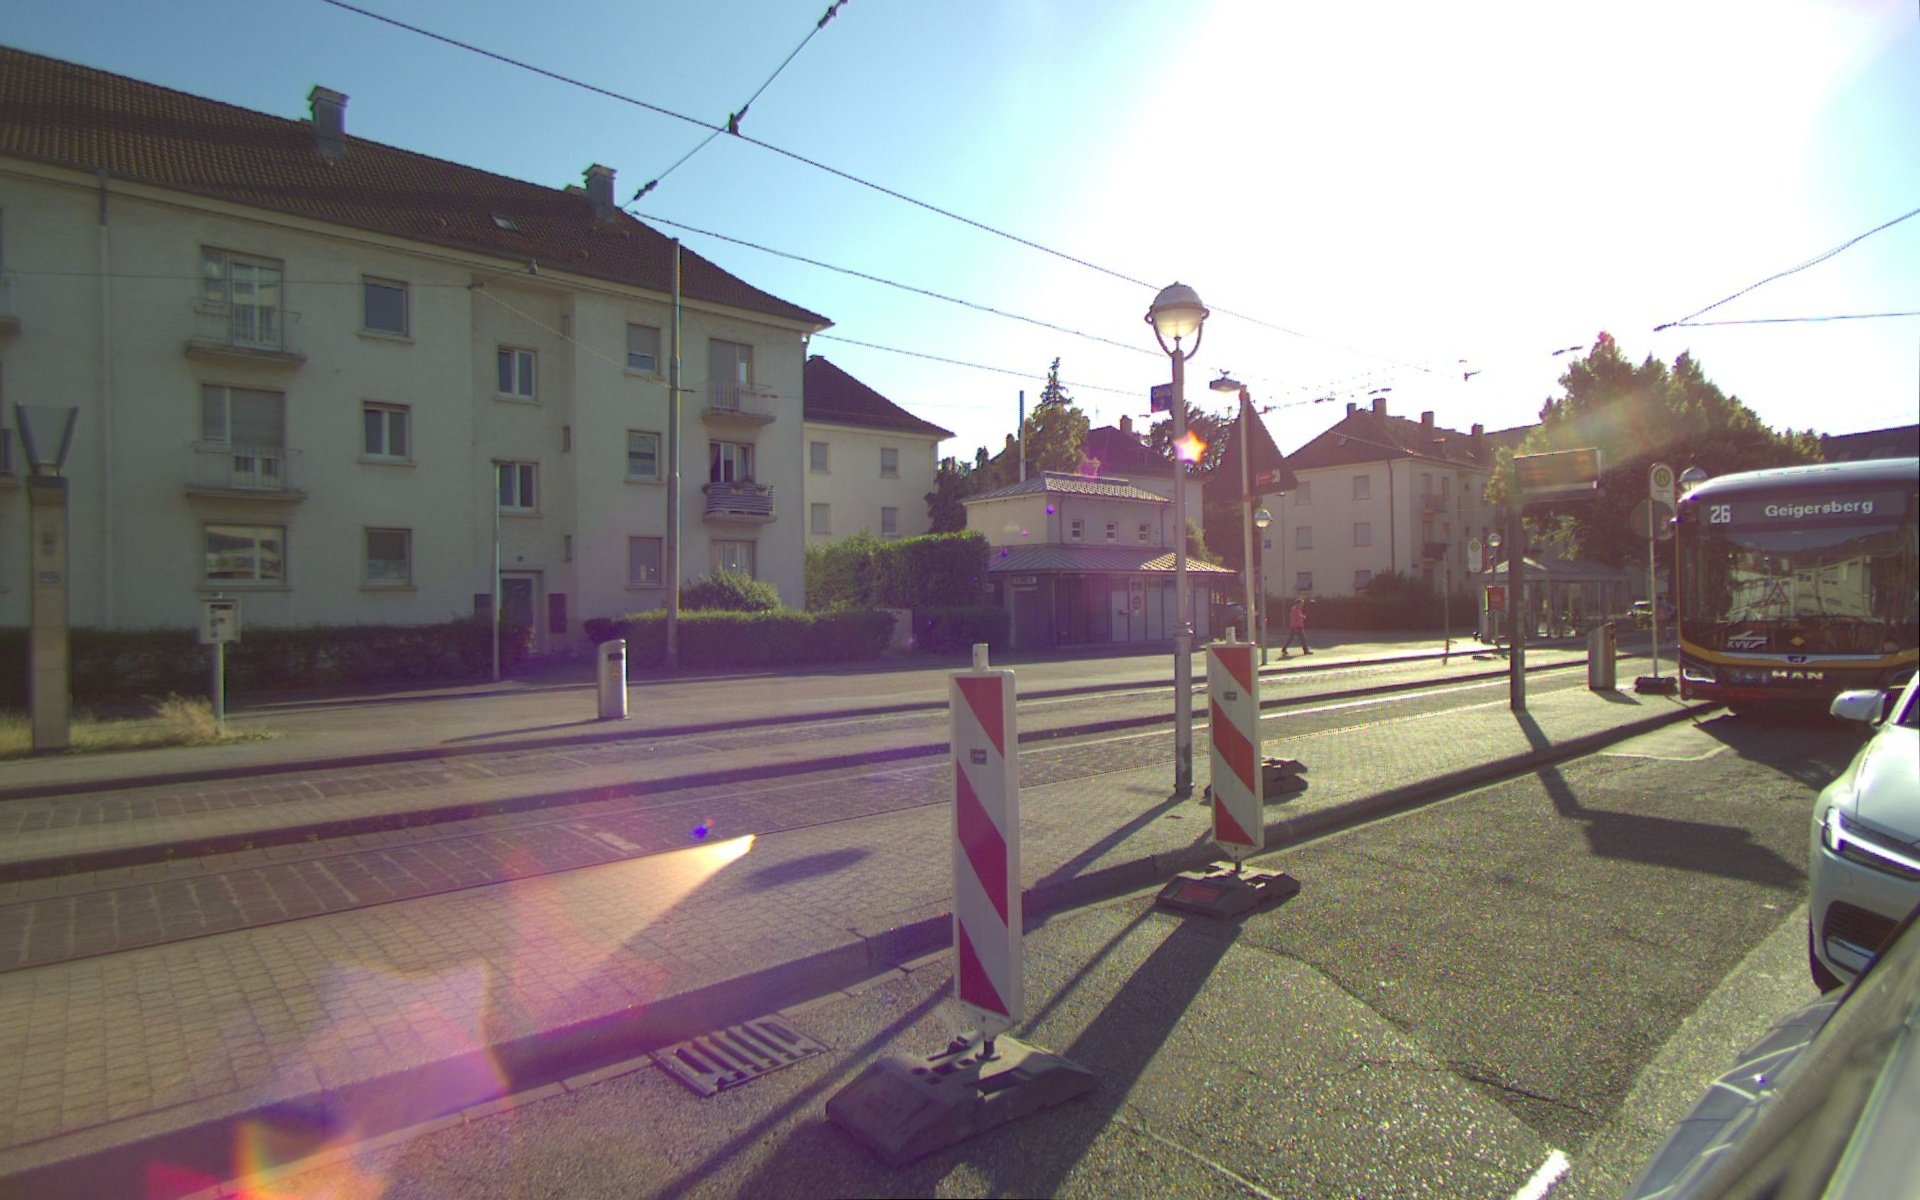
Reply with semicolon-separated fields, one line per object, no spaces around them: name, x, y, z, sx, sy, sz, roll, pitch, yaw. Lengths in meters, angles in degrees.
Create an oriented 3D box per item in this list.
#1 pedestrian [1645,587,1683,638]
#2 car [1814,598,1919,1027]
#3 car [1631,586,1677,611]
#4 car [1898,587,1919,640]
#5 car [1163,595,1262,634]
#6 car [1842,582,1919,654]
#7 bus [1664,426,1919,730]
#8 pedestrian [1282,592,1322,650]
pedestrian;23.212;0.403;33.393;0.814;1.631;0.837;0;0;19
car;5.274;0.731;4.361;4.143;1.472;1.819;0;0;-41
car;53.780;-0.110;78.437;3.930;1.887;1.997;-1;0;-41
car;28.786;0.369;29.232;4.740;1.477;1.968;0;0;-41
car;11.586;0.681;46.670;1.964;1.694;4.050;-1;-1;-39
car;21.226;0.359;22.366;4.740;1.477;1.968;0;0;-41
bus;14.318;-0.264;15.848;11.824;3.345;2.745;0;0;-42
pedestrian;10.490;0.618;31.038;0.810;1.740;0.842;0;0;-38
